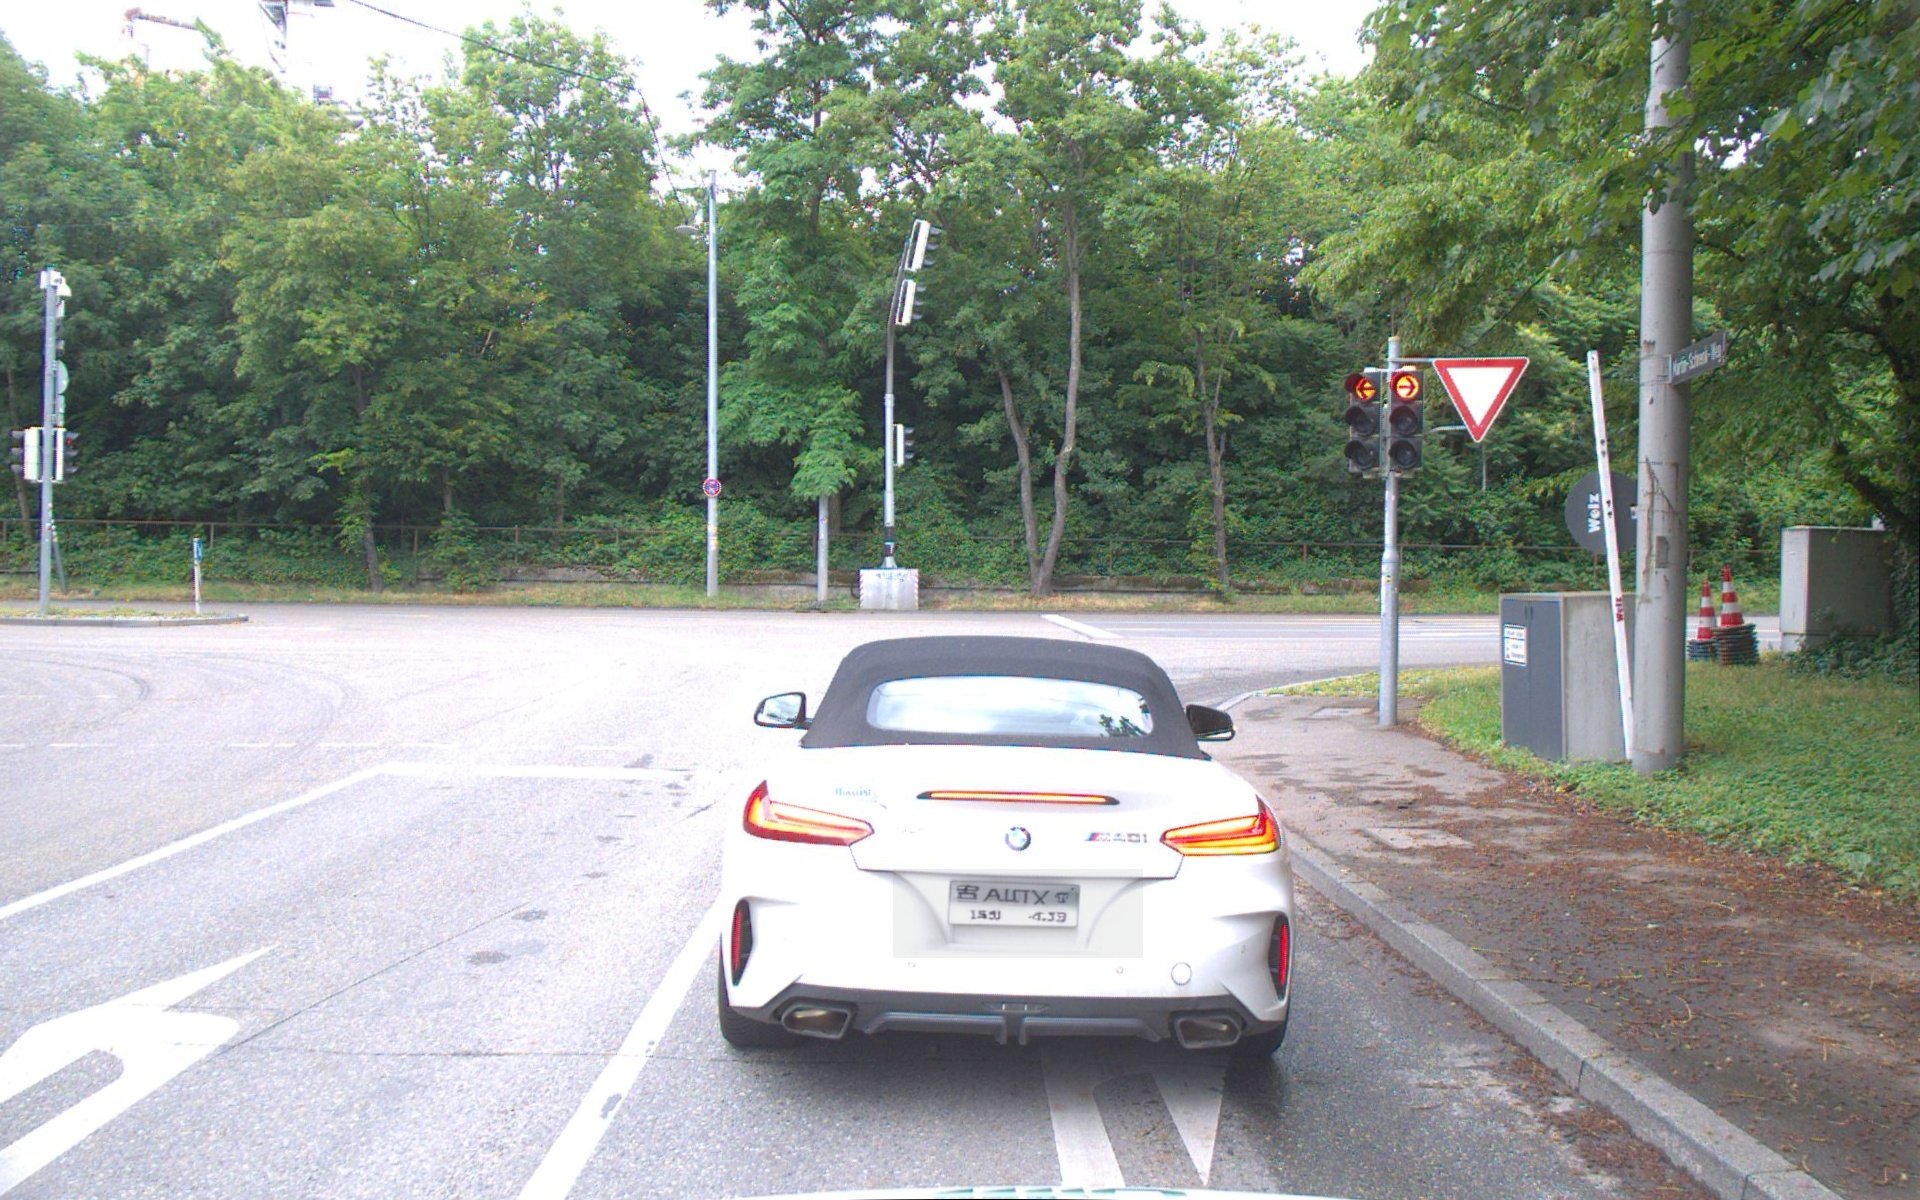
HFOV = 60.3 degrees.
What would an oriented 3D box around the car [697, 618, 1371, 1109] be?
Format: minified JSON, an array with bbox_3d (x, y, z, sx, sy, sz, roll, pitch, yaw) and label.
[{"bbox_3d":[0.116,0.754,6.453,1.791,1.279,3.997,2,-1,-3],"label":"car"}]
